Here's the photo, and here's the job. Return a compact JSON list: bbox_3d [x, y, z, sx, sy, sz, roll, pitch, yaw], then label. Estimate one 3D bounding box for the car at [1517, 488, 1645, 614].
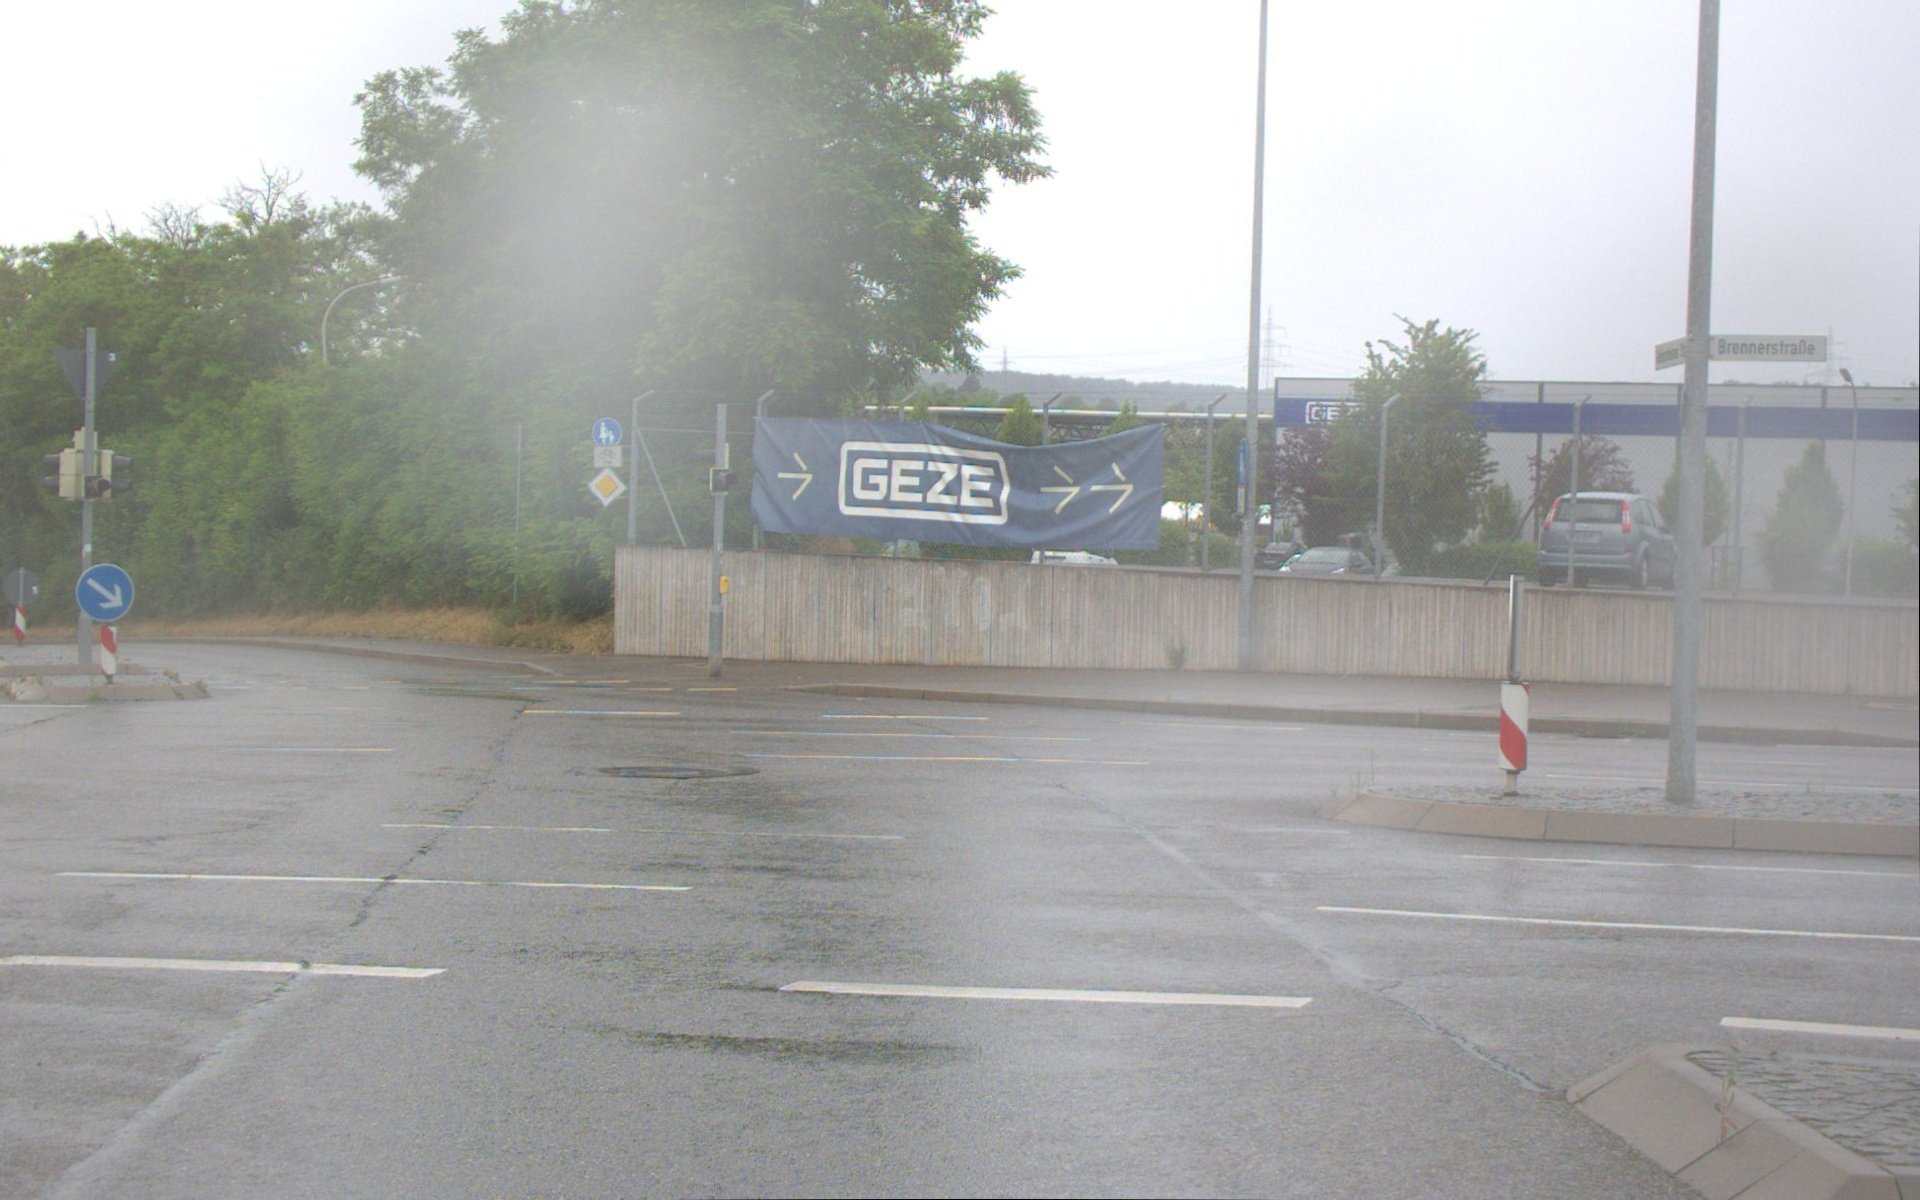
[{"bbox_3d":[10.450,-0.828,57.685,1.994,2.007,3.998,1,1,11],"label":"car"}]
